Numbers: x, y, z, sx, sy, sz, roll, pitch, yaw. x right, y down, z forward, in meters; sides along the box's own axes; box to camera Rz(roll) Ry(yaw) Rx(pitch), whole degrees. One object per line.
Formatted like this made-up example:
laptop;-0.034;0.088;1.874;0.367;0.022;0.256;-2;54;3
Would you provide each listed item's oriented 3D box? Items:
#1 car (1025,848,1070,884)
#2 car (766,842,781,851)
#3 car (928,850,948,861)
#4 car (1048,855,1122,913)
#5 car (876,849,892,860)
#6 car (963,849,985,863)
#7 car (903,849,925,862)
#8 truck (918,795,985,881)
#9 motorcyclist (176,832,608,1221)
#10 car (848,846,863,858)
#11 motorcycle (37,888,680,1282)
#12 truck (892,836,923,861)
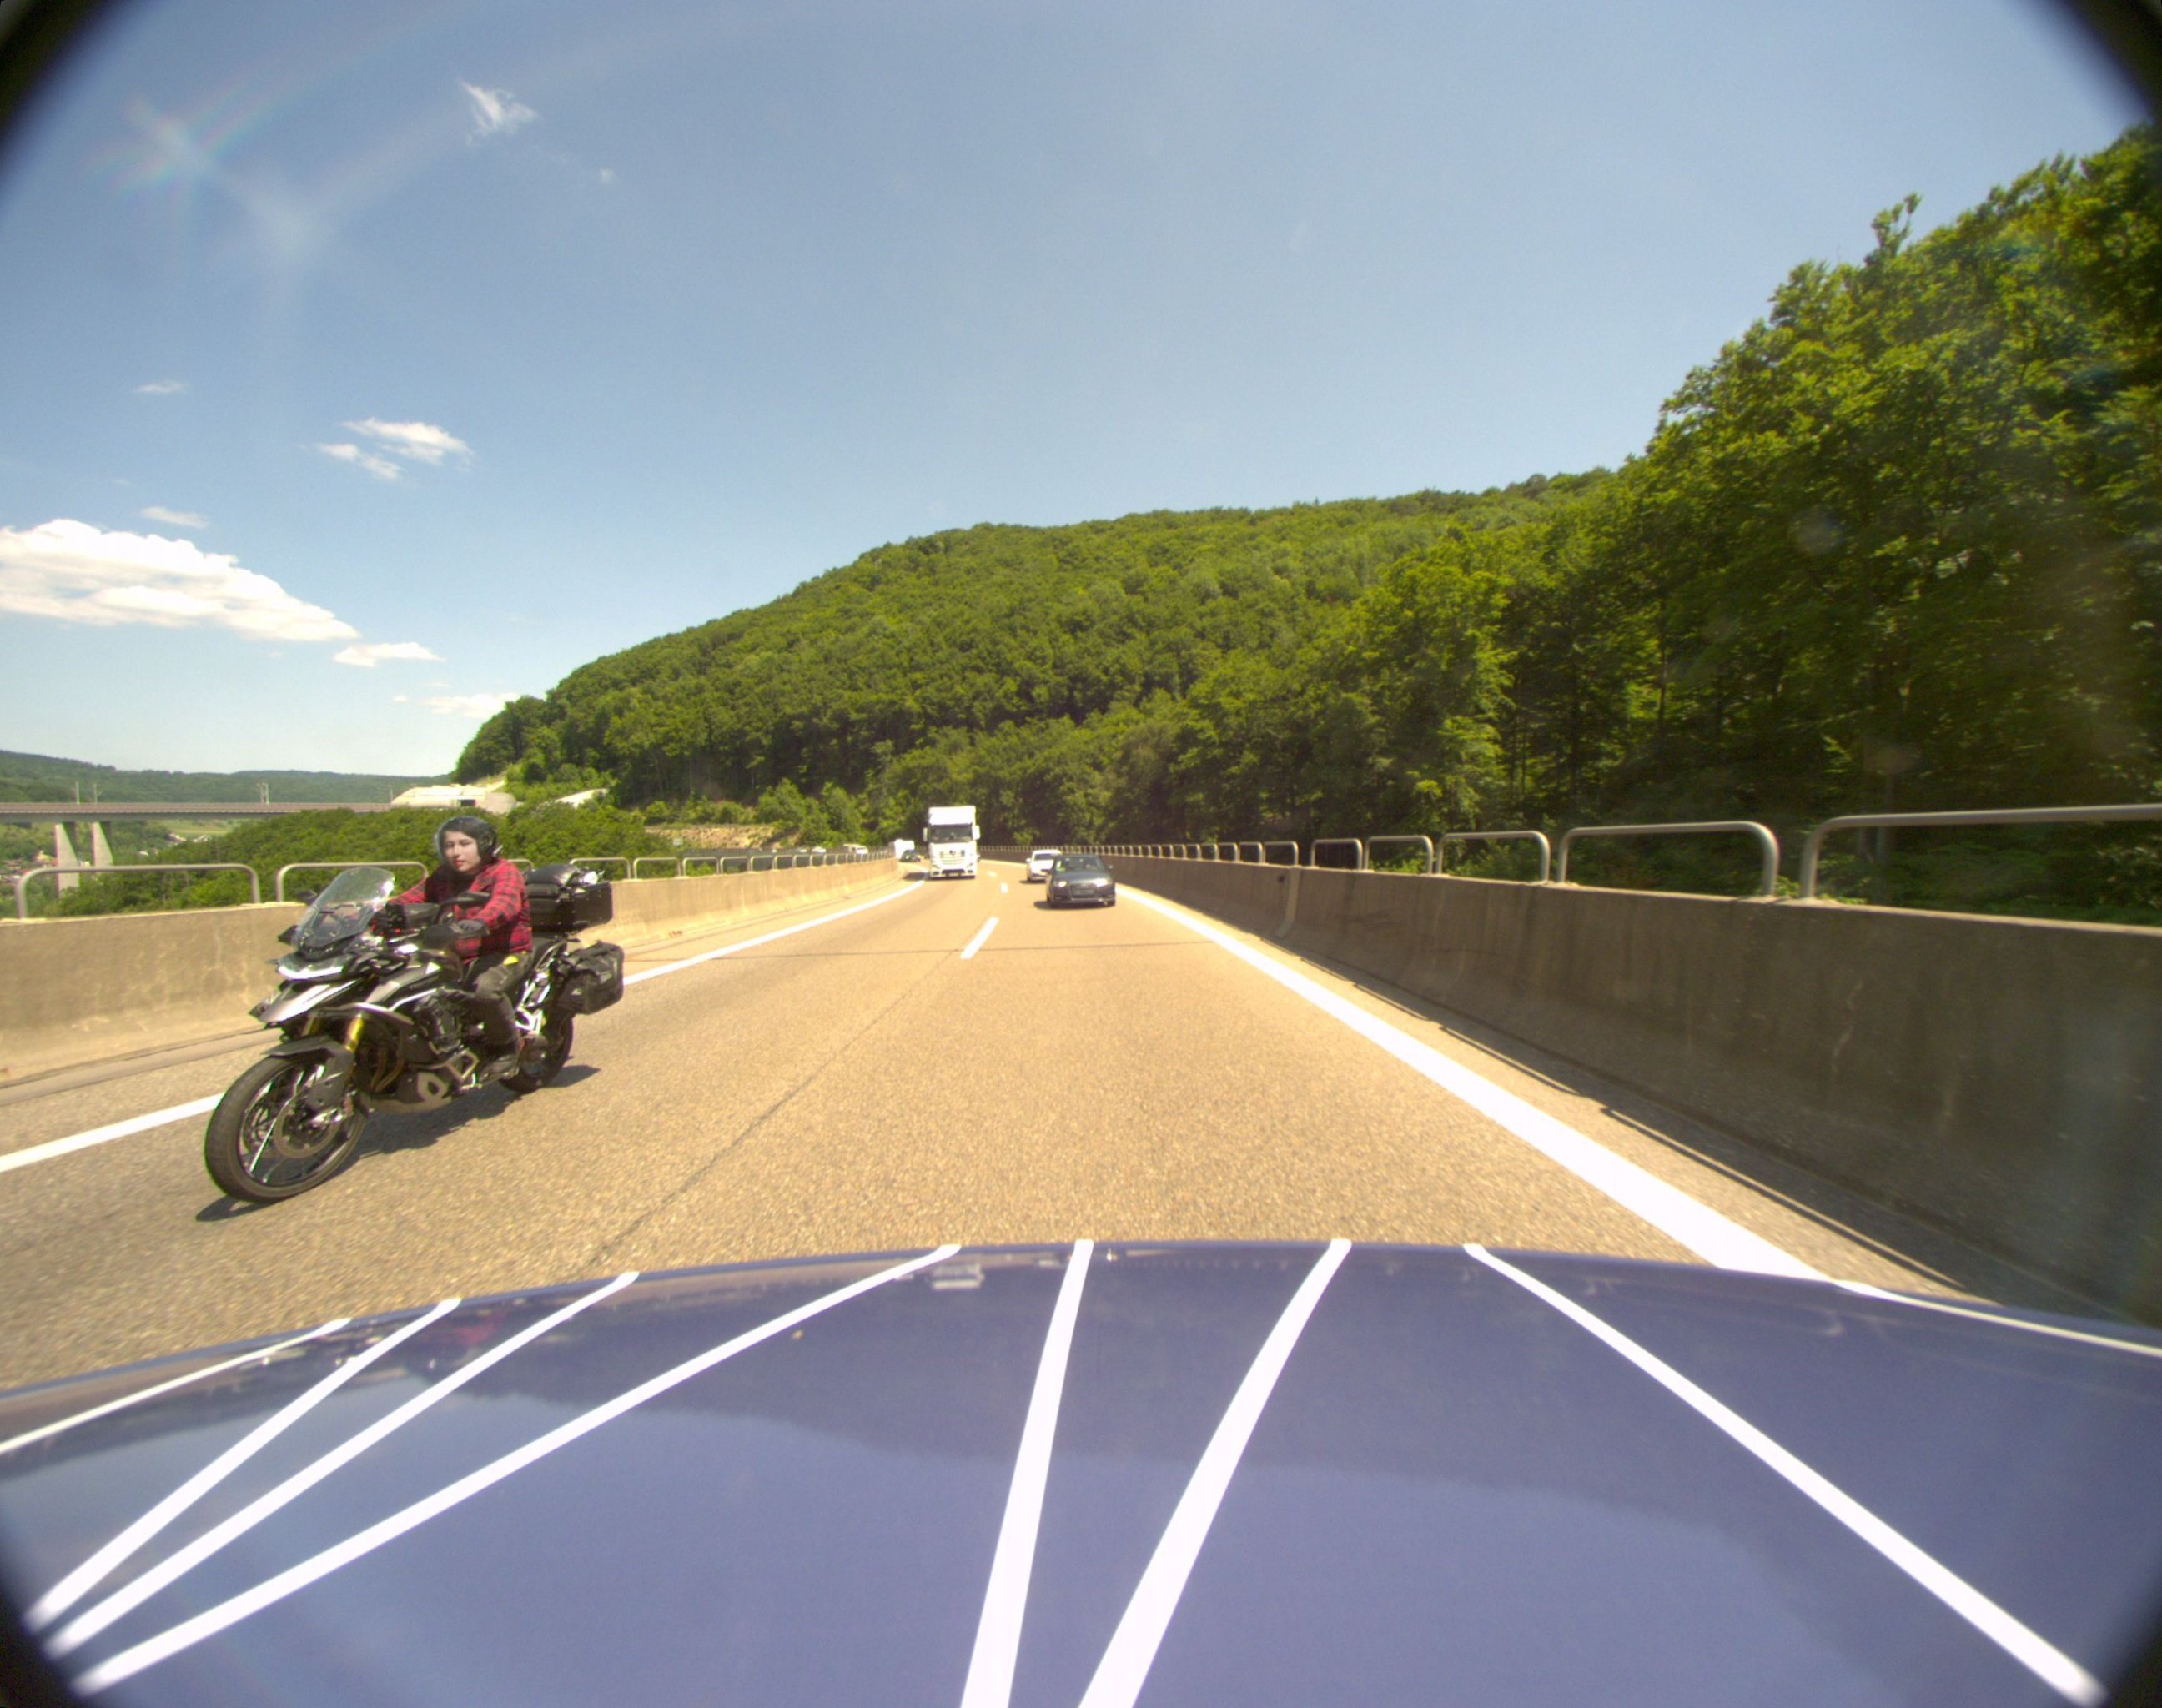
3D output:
car;-1.612;0.514;35.380;1.756;1.460;3.979;-3;1;-6
car;-72.906;-1.804;179.962;2.004;2.002;3.988;-2;1;-44
car;-19.507;0.197;103.654;2.002;1.444;3.993;-1;1;-20
car;0.007;0.748;20.919;1.756;1.350;4.120;-1;1;-3
car;-34.005;0.085;131.089;2.002;1.783;3.991;-2;1;-26
car;-11.561;0.206;82.055;1.758;1.480;3.976;-1;1;-17
car;-20.267;0.204;92.274;1.759;1.480;3.973;-2;1;-25
truck;-7.312;-0.870;45.066;2.970;4.109;16.694;-1;1;-7
motorcyclist;-3.601;0.796;4.178;1.063;1.790;1.338;-1;1;4
car;-38.861;-0.323;130.859;2.002;2.002;3.992;-2;1;-24
motorcycle;-3.599;0.987;4.374;0.975;1.411;2.681;-1;1;4
truck;-22.247;-0.674;97.230;2.622;3.084;6.841;-2;1;-23
